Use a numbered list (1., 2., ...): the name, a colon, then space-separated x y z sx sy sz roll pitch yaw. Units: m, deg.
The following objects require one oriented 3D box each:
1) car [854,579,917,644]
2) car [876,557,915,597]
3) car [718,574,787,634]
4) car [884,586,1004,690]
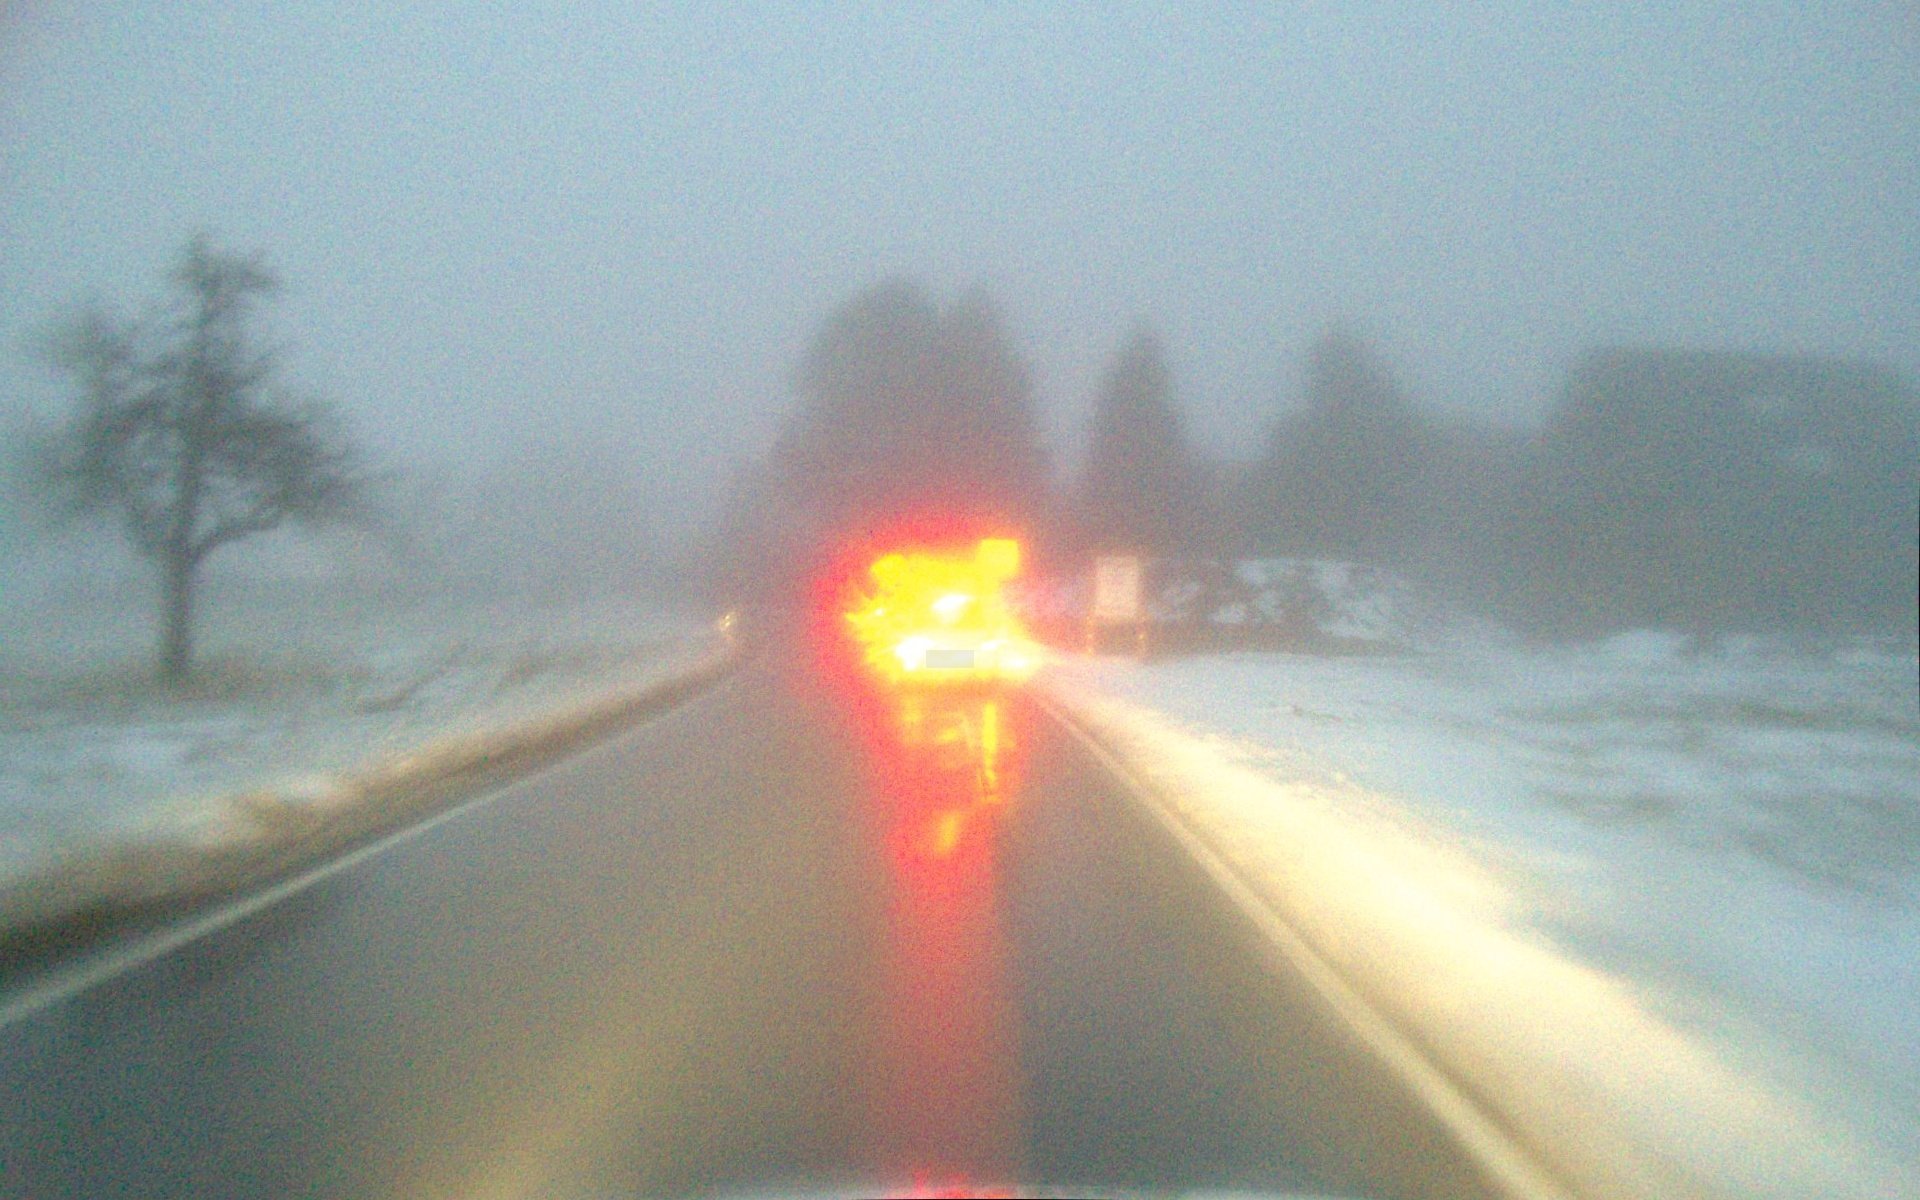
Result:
1. car: -1.814 0.267 41.038 1.448 1.534 3.052 -1 0 -1
2. car: -2.580 -0.921 66.687 1.448 1.534 3.052 -1 -1 -1
3. car: -5.502 0.107 44.111 1.491 1.534 3.052 -1 -1 -1
4. car: -0.330 0.637 27.459 1.673 1.489 3.996 3 -2 -4
